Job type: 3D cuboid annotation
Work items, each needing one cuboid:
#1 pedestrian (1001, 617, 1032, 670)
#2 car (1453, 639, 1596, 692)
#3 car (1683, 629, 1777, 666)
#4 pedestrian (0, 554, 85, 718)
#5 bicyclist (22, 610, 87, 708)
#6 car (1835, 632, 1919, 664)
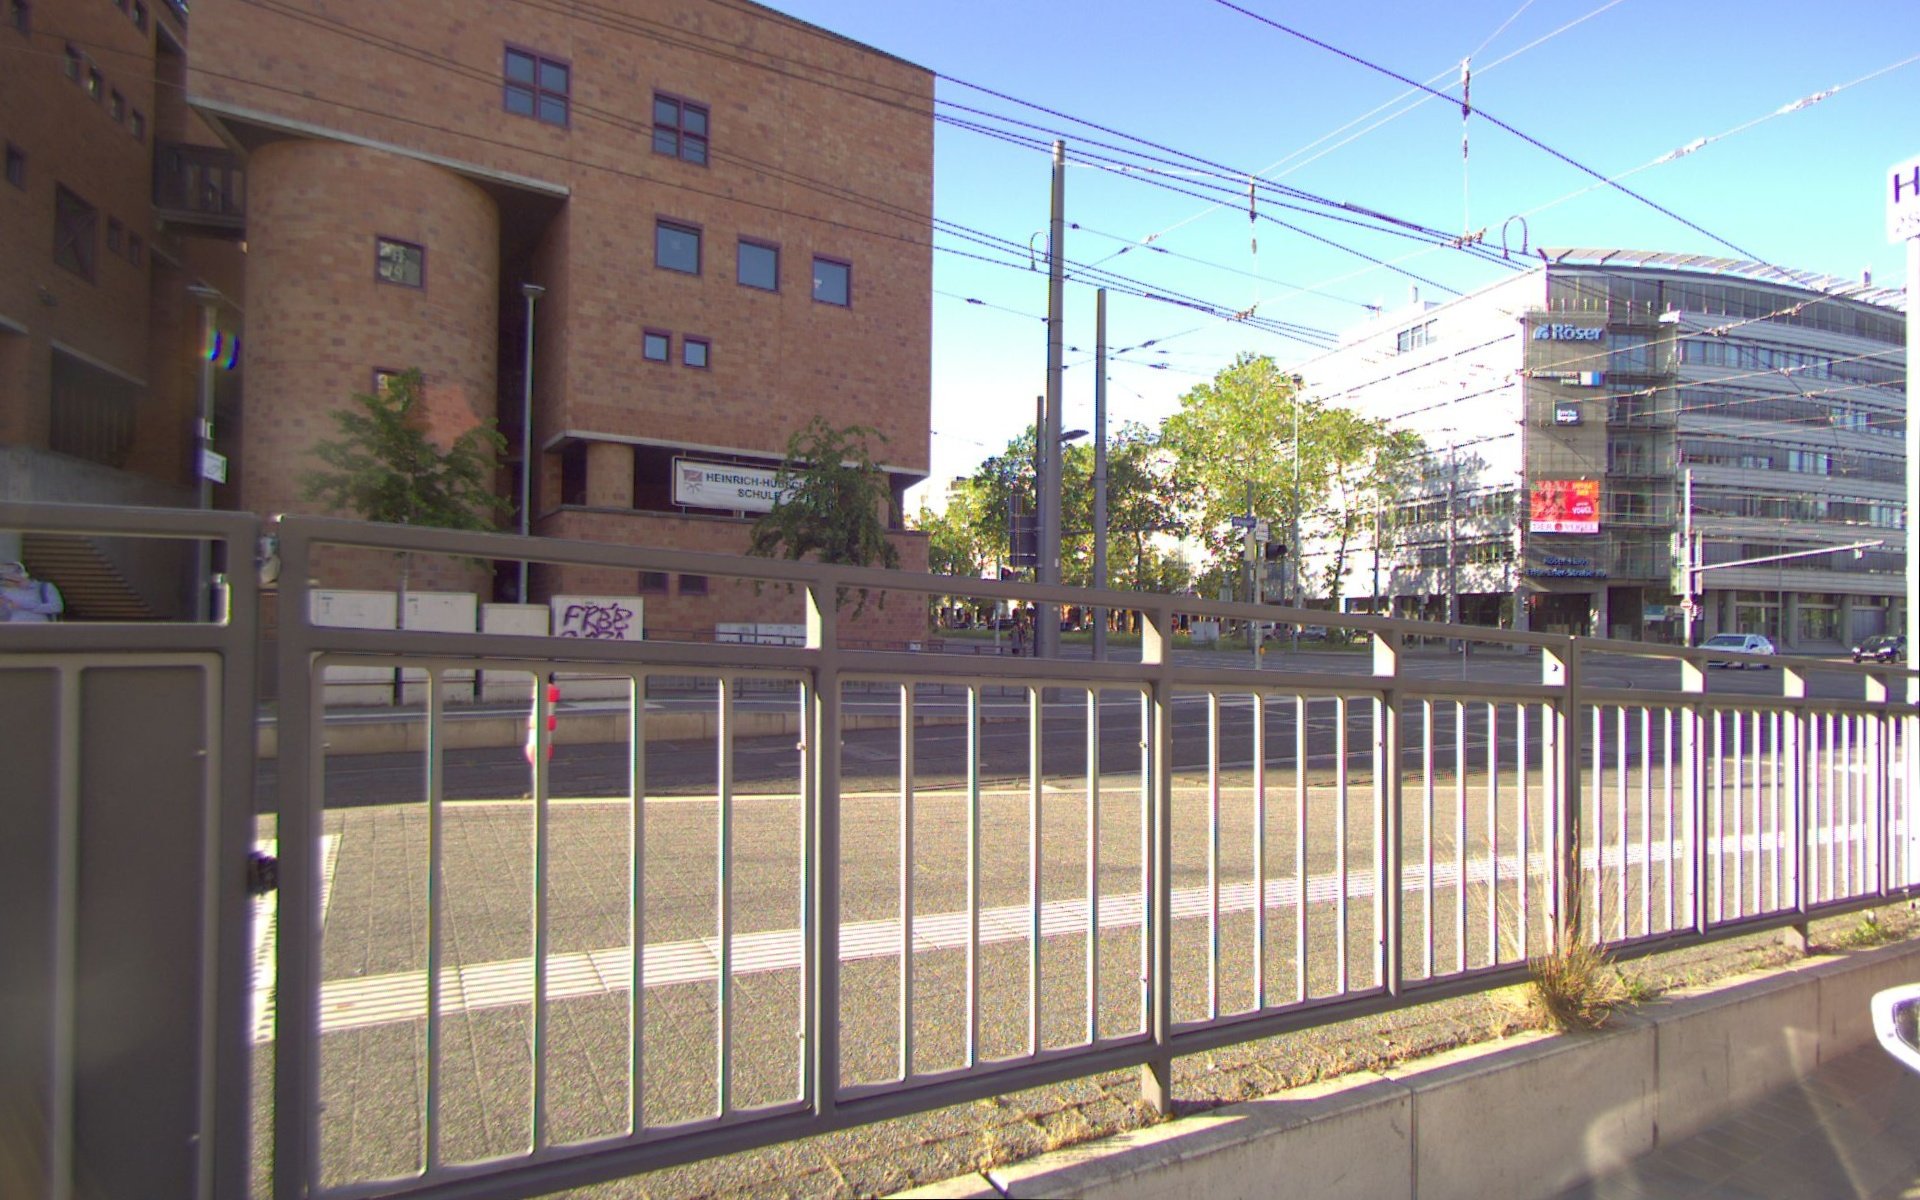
[{"bbox_3d":[1.879,1.430,33.289,0.785,1.714,0.587,2,0,-29],"label":"pedestrian"},{"bbox_3d":[13.676,1.556,24.396,2.841,1.077,1.238,2,0,40],"label":"car"},{"bbox_3d":[31.860,1.932,41.552,4.484,1.449,1.814,1,-1,-35],"label":"car"},{"bbox_3d":[-9.722,0.367,10.551,0.679,1.656,0.662,2,0,-34],"label":"pedestrian"},{"bbox_3d":[-14.927,0.962,16.580,0.642,1.554,0.584,2,0,-30],"label":"bicyclist"},{"bbox_3d":[47.111,2.454,51.295,4.175,1.449,1.823,2,0,-19],"label":"car"}]
